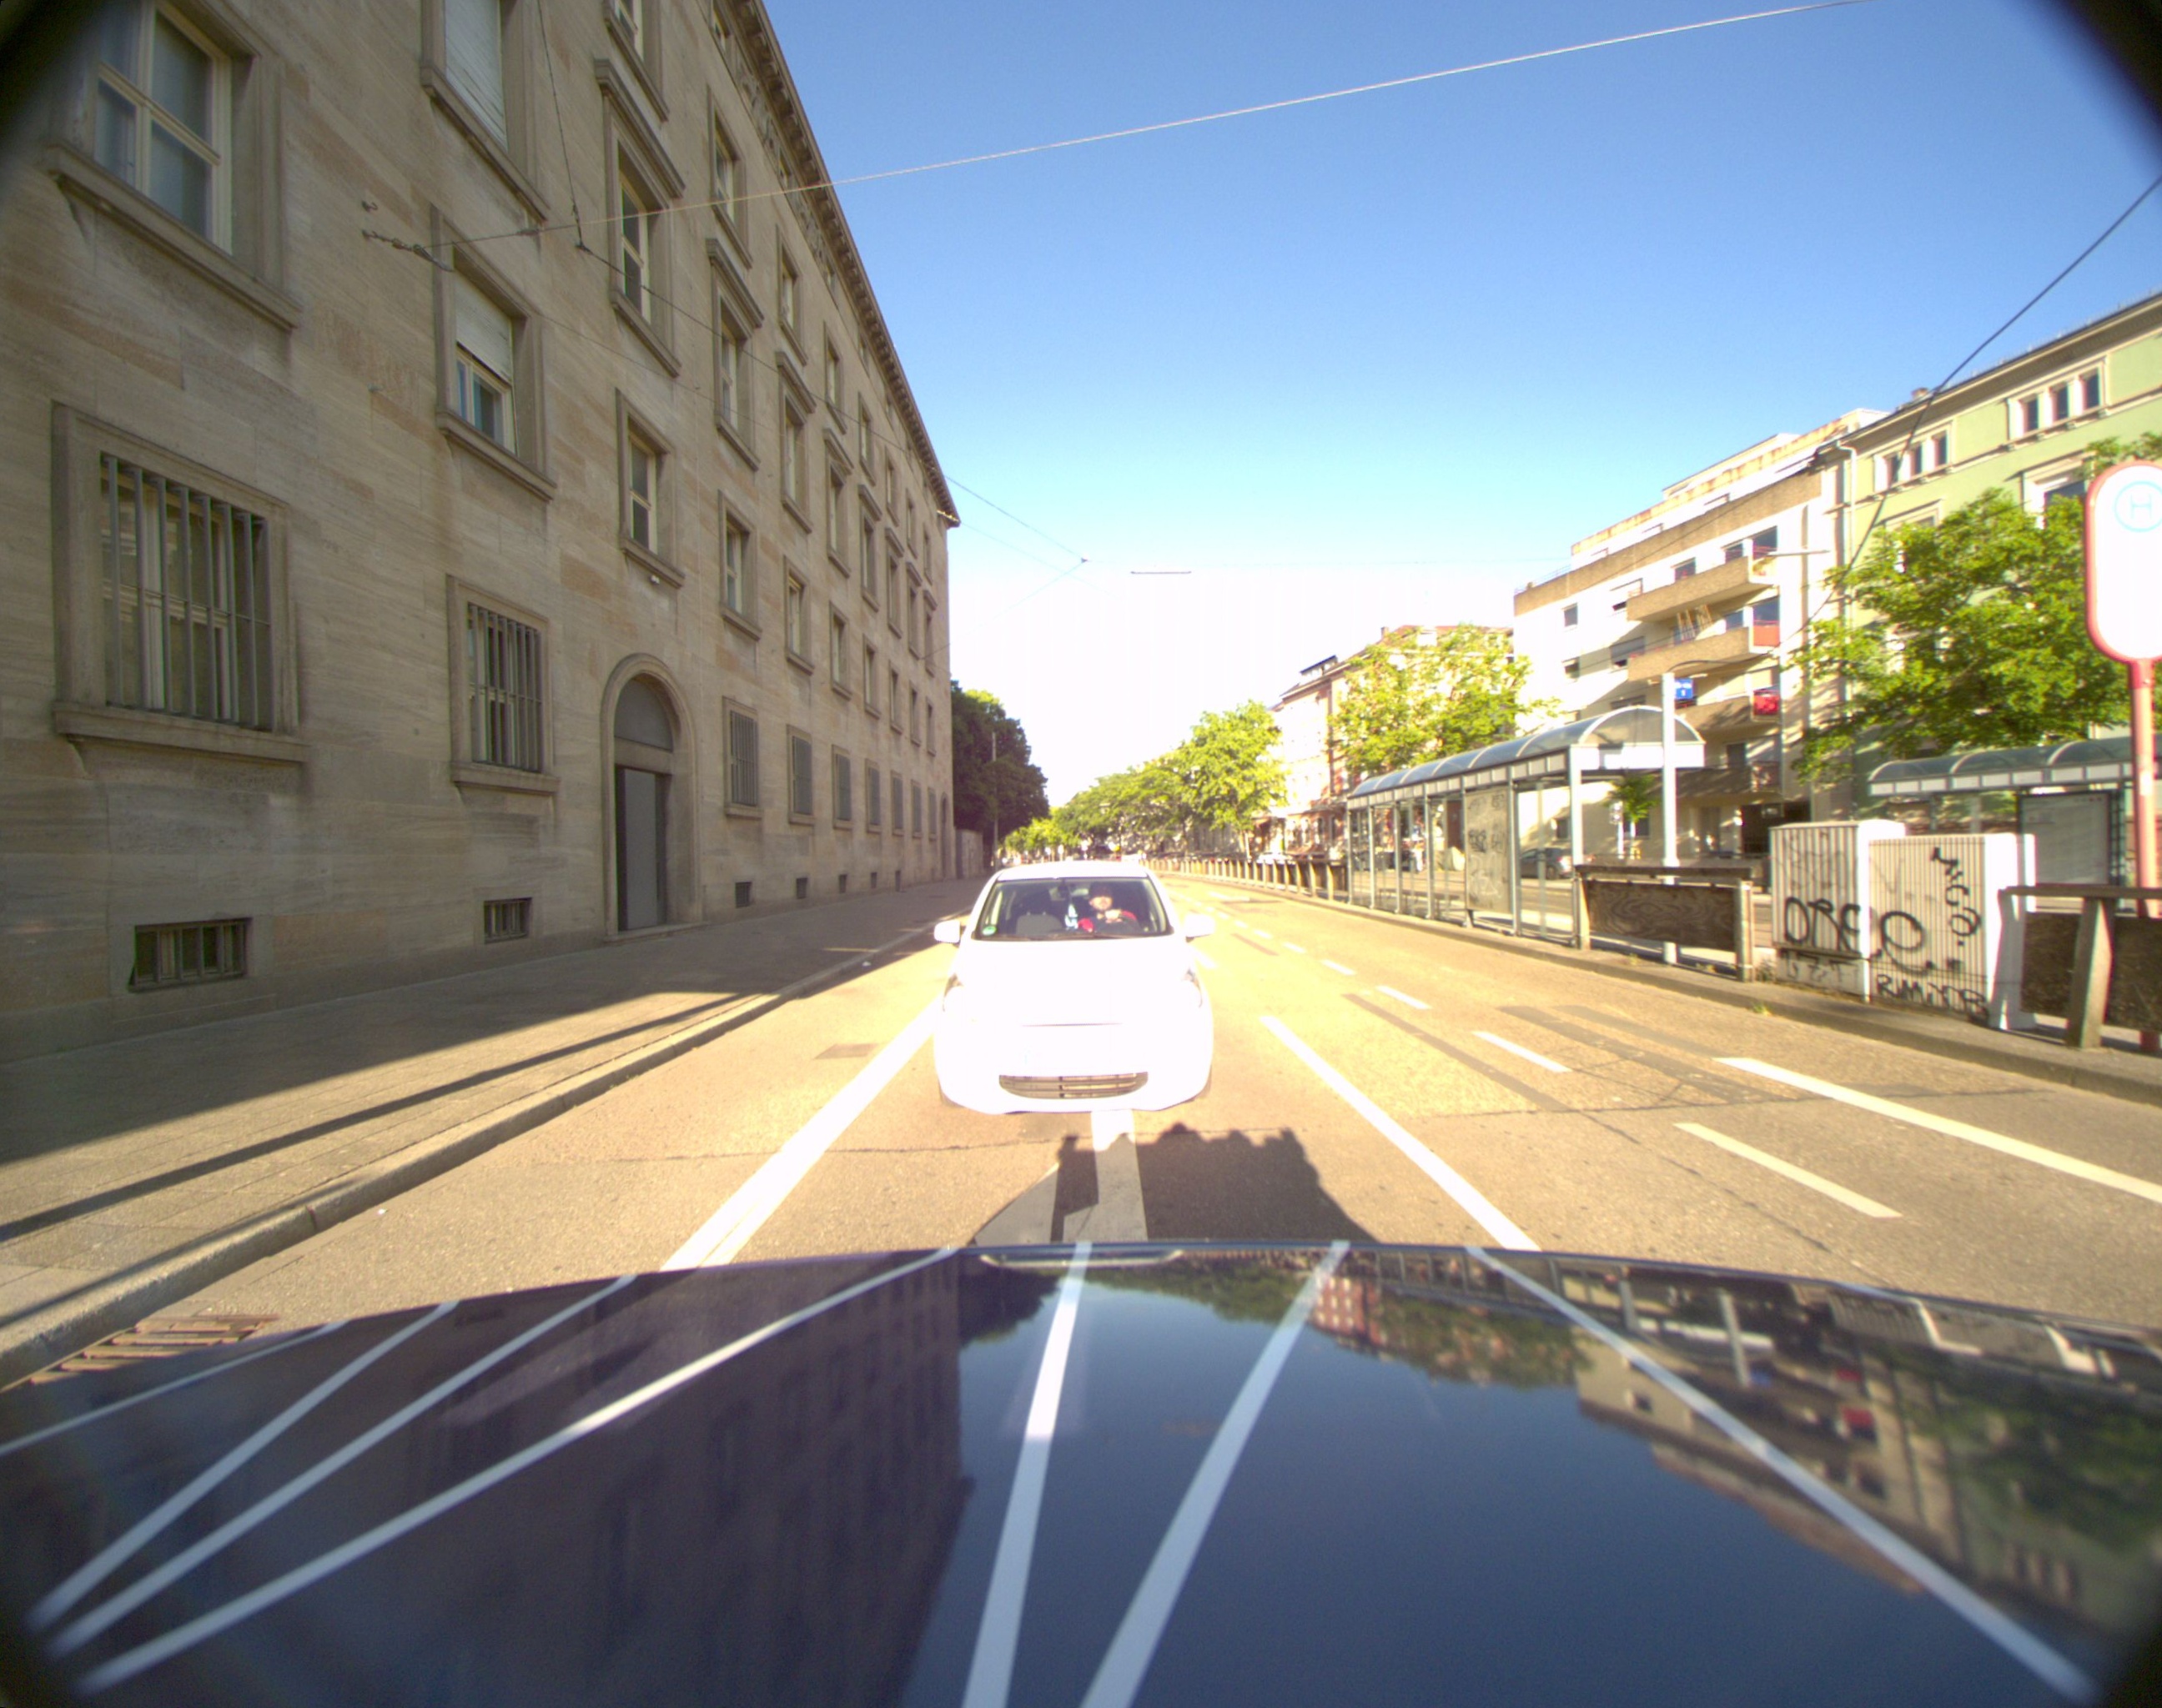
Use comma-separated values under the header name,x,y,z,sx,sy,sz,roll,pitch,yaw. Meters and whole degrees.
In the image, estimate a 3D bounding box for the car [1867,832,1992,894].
name,x,y,z,sx,sy,sz,roll,pitch,yaw
car,24.463,0.230,21.893,3.605,1.558,1.627,-3,1,-29

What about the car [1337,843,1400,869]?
name,x,y,z,sx,sy,sz,roll,pitch,yaw
car,19.546,0.123,51.725,3.599,1.558,1.630,-2,1,-7

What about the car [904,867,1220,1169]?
name,x,y,z,sx,sy,sz,roll,pitch,yaw
car,-0.075,0.899,5.813,1.612,1.462,3.631,-2,0,1

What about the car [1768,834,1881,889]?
name,x,y,z,sx,sy,sz,roll,pitch,yaw
car,23.885,0.224,24.405,3.605,1.558,1.627,-3,1,-29

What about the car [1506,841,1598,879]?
name,x,y,z,sx,sy,sz,roll,pitch,yaw
car,20.916,0.231,33.935,1.631,1.558,3.598,-2,1,-5

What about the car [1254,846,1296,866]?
name,x,y,z,sx,sy,sz,roll,pitch,yaw
car,16.261,0.153,63.480,3.607,1.558,1.627,-3,1,-42
